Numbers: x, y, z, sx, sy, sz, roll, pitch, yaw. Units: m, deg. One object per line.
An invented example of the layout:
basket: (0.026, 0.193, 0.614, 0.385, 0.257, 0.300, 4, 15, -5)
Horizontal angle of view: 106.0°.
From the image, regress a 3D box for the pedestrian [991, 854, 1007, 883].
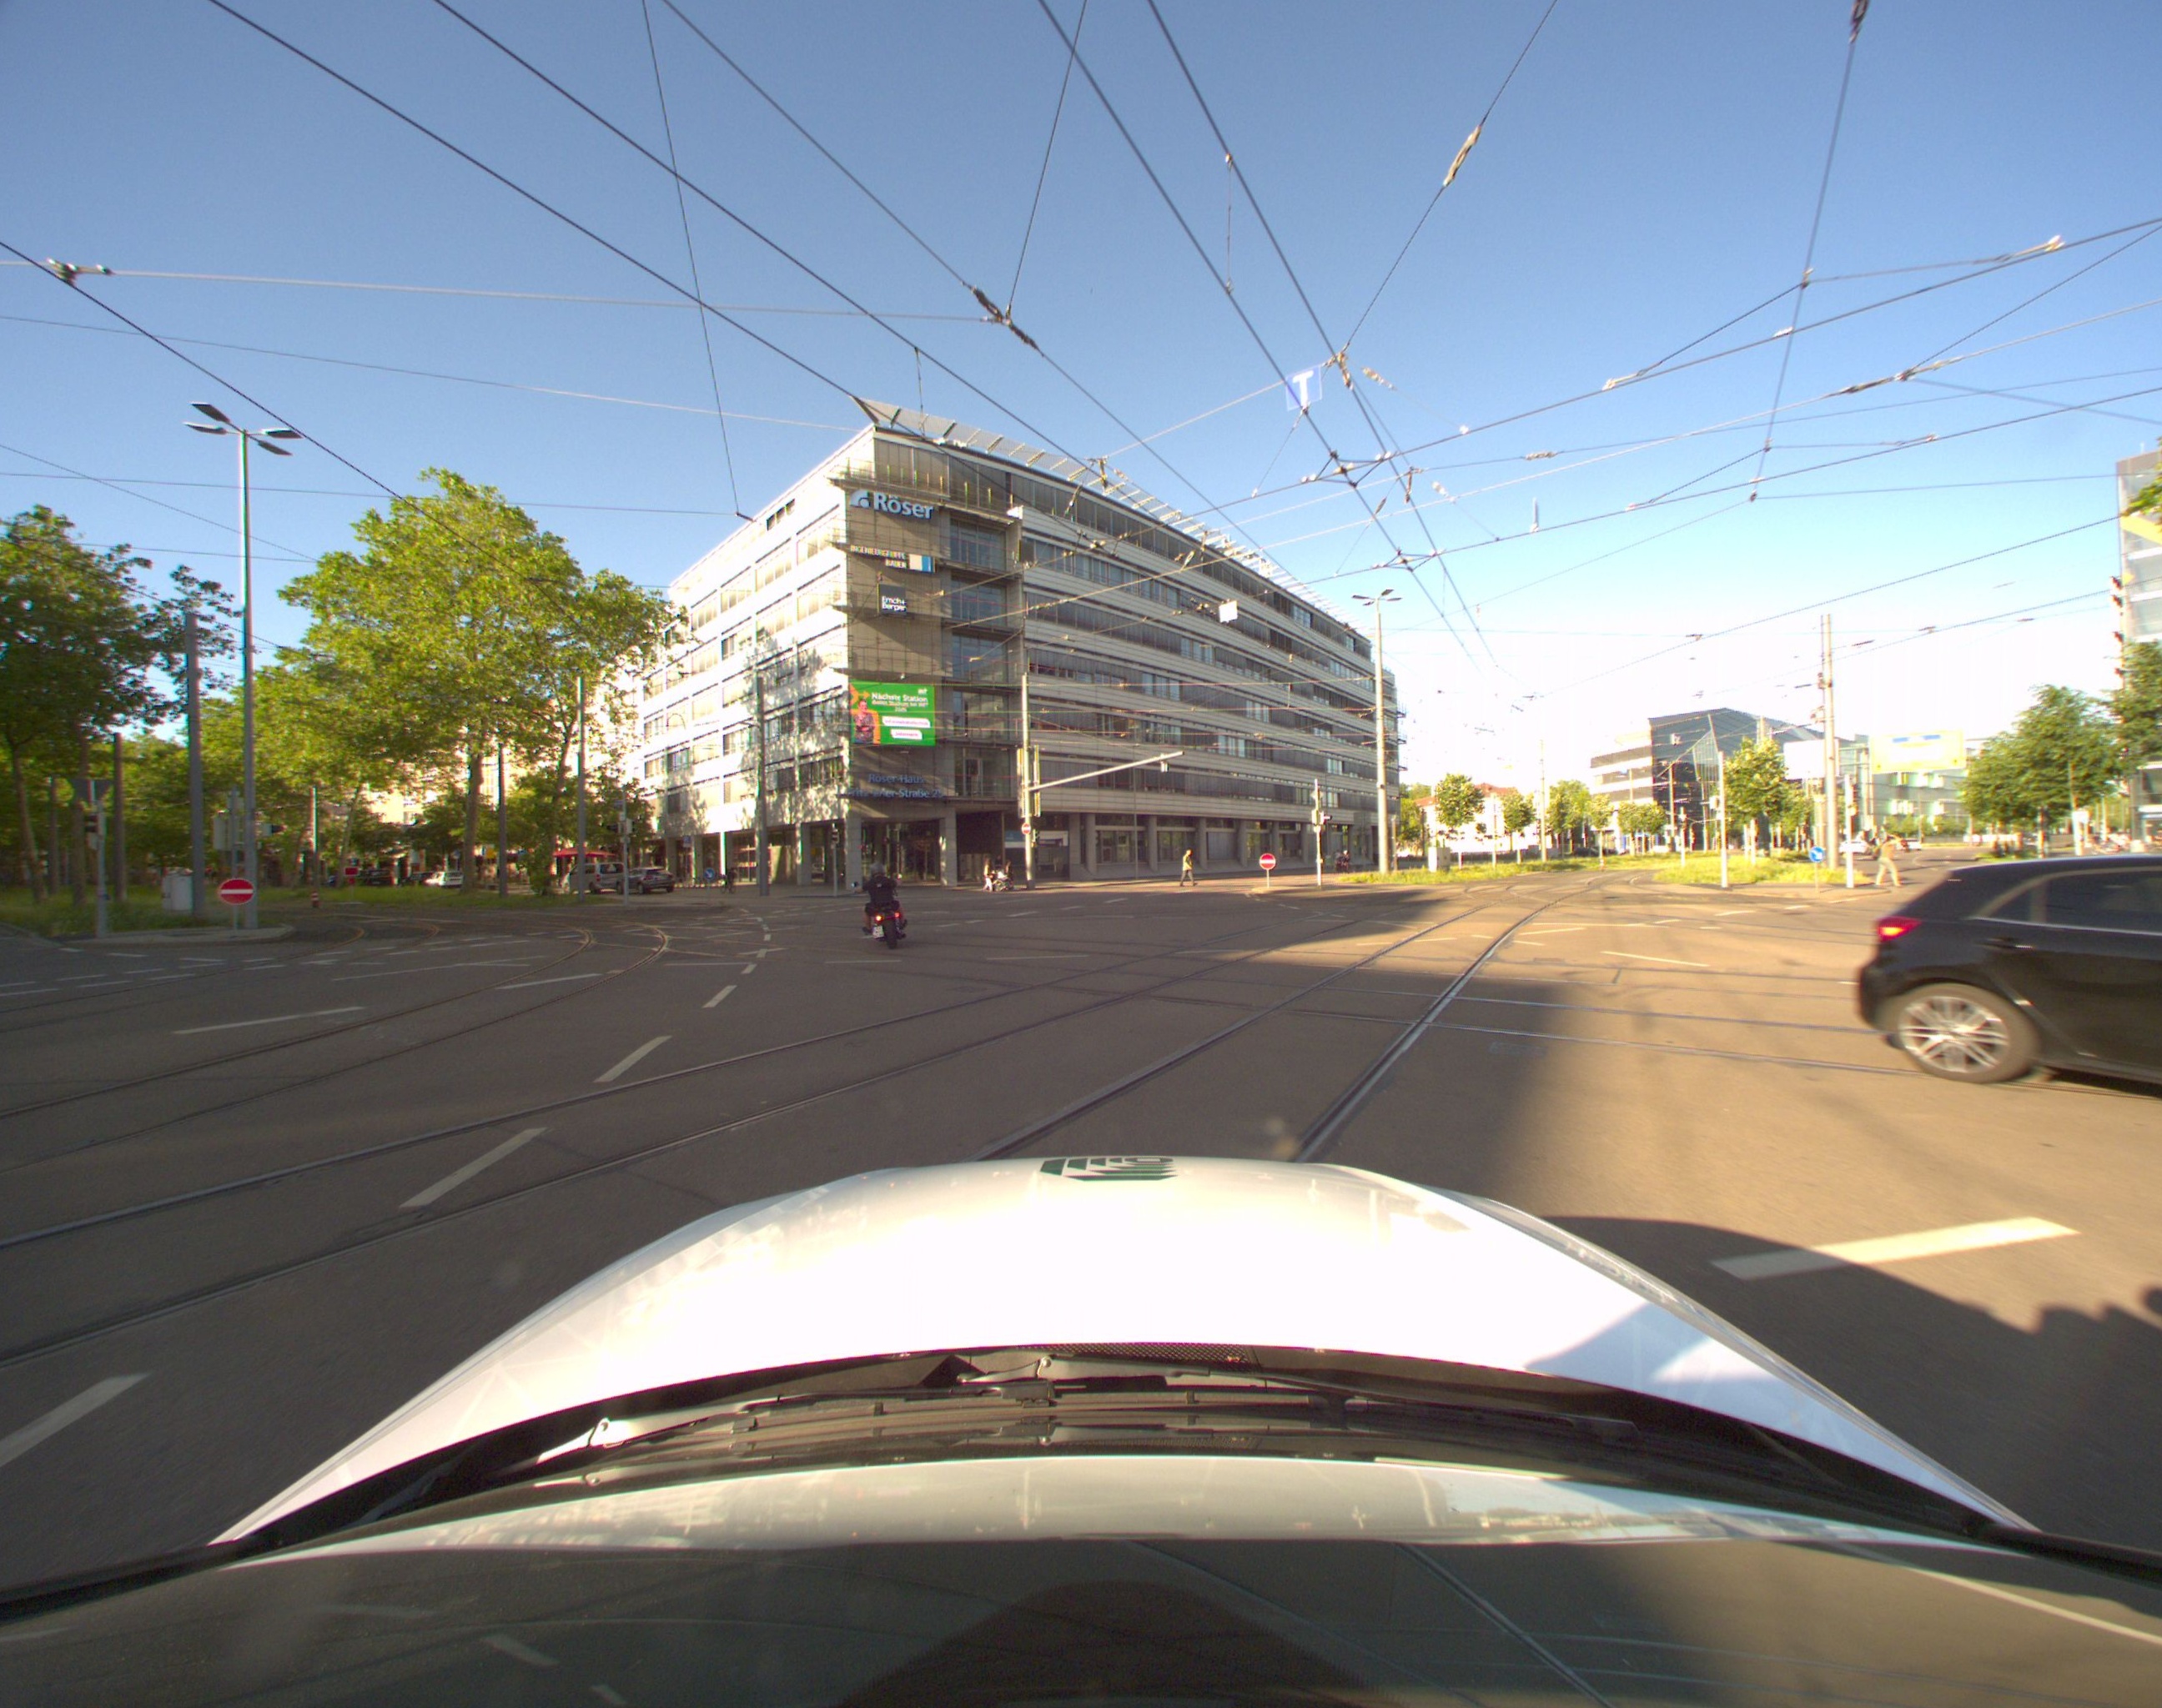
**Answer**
pedestrian: (-4.821, 0.845, 47.902, 0.694, 1.715, 0.637, 0, -2, -45)

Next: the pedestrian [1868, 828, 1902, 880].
pedestrian: (25.068, 0.010, 25.412, 0.651, 1.582, 0.492, -2, -1, 37)

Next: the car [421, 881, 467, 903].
car: (-49.558, 2.933, 63.328, 3.817, 1.638, 1.877, -2, -2, 37)

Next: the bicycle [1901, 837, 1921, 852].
bicycle: (89.104, -1.005, 87.377, 3.590, 1.580, 1.008, 0, -2, -37)

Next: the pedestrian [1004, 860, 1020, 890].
pedestrian: (-3.728, 1.132, 44.043, 0.716, 1.617, 0.656, -1, -2, 10)

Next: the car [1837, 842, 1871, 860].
car: (71.758, -0.250, 75.624, 4.021, 1.508, 1.885, 1, -1, -41)

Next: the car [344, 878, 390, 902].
car: (-63.997, 3.230, 72.995, 4.357, 1.977, 2.049, -2, -1, 34)

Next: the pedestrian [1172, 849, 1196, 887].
pedestrian: (5.057, 0.675, 40.078, 0.874, 1.824, 0.681, -4, -4, 38)

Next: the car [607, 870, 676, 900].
car: (-25.509, 1.792, 47.231, 4.357, 1.572, 1.877, -2, 0, 37)

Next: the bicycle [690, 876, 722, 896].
bicycle: (-23.757, 2.032, 51.614, 0.464, 1.151, 1.850, -2, 0, 40)

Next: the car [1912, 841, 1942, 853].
car: (99.051, -0.832, 95.328, 4.057, 1.376, 1.999, 0, -2, -38)

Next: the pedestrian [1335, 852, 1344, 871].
pedestrian: (23.918, 0.666, 75.274, 0.543, 1.734, 0.646, -3, -2, 39)

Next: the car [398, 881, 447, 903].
car: (-54.114, 3.132, 66.909, 4.032, 1.629, 2.006, -2, -1, 34)

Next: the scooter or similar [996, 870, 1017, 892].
scooter or similar: (-3.898, 1.396, 42.821, 1.011, 1.129, 0.551, -1, -2, 4)

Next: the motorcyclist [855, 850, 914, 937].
motorcyclist: (-3.724, 0.716, 15.372, 1.025, 1.552, 1.279, 0, -1, -17)

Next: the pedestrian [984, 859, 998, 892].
pedestrian: (-4.733, 1.117, 42.864, 0.633, 1.708, 0.582, -1, -1, 4)

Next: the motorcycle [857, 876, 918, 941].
motorcycle: (-3.700, 1.013, 15.441, 1.008, 1.126, 2.309, 0, -3, -17)

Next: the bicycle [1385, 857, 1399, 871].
bicycle: (25.301, 0.829, 66.229, 0.636, 1.108, 1.696, -2, -2, 35)

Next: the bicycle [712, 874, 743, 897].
bicycle: (-19.173, 1.691, 44.116, 1.824, 1.163, 0.617, -1, 2, 35)

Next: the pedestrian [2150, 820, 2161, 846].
pedestrian: (67.700, -1.332, 51.078, 0.626, 1.570, 0.699, 0, -2, -43)

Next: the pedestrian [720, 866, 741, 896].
pedestrian: (-19.049, 1.465, 44.283, 0.826, 1.611, 0.610, -1, 2, 34)

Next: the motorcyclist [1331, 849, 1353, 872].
motorcyclist: (19.898, 0.504, 62.185, 1.009, 1.731, 1.469, -3, -2, 44)

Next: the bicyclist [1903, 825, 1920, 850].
bicyclist: (89.101, -1.776, 87.409, 1.478, 2.624, 1.008, 0, -2, -37)

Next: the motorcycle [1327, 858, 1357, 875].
motorcycle: (19.990, 0.944, 62.256, 0.974, 1.232, 2.960, -3, -2, 44)

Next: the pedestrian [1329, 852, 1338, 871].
pedestrian: (23.440, 0.671, 75.624, 0.543, 1.734, 0.646, -3, -2, 39)

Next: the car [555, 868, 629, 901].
car: (-30.148, 1.891, 50.168, 4.860, 1.843, 1.941, -2, 0, 34)

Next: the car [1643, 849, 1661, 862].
car: (82.741, 0.215, 117.978, 1.751, 1.724, 3.931, -2, -1, 42)

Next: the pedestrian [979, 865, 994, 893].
pedestrian: (-4.869, 1.289, 41.874, 0.633, 1.402, 0.547, -1, -1, 4)

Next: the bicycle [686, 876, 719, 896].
bicycle: (-24.121, 2.036, 51.915, 0.464, 1.151, 1.850, -2, 0, 40)

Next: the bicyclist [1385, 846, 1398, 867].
bicyclist: (25.274, 0.217, 66.251, 0.756, 1.667, 1.000, -2, -2, 35)

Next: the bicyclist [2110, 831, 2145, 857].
bicyclist: (59.169, -0.547, 46.063, 1.573, 1.381, 1.030, 0, -2, -44)

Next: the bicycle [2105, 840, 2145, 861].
bicycle: (59.321, -0.189, 46.285, 3.198, 1.133, 1.030, 0, -2, -44)

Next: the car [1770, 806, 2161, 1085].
car: (6.635, 0.451, 4.256, 1.797, 1.466, 4.282, -1, -1, -20)
